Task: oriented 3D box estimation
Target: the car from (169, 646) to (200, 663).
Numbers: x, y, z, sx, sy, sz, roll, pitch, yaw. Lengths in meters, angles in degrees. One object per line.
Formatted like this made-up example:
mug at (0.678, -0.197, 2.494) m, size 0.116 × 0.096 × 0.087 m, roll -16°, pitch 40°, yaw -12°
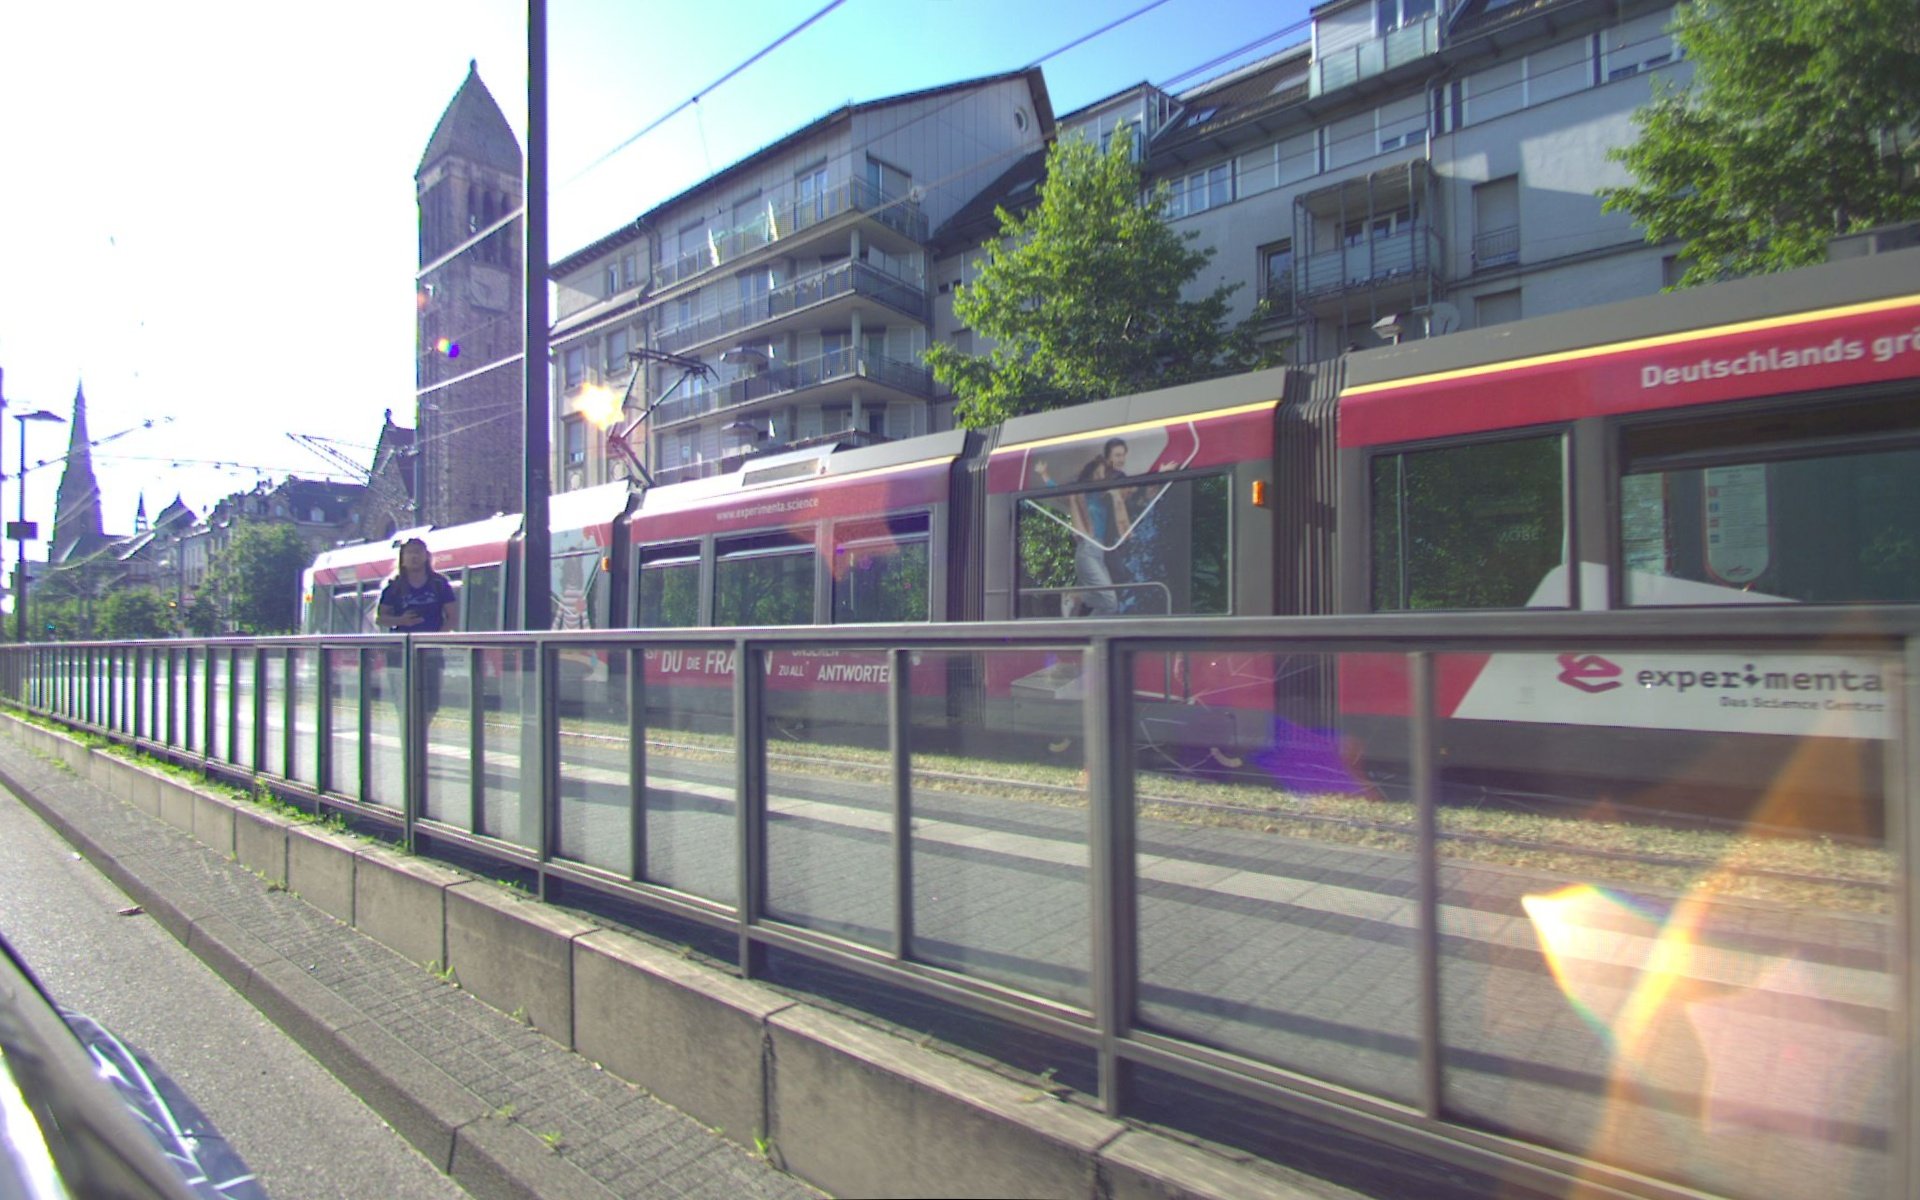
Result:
car at (-77.452, 5.471, 101.075) m, size 4.213 × 1.541 × 1.763 m, roll -3°, pitch -1°, yaw 42°

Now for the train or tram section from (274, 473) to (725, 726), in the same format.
train or tram section at (-10.288, 0.259, 20.756) m, size 14.555 × 3.704 × 2.839 m, roll -3°, pitch -3°, yaw 42°

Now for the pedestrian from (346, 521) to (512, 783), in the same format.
pedestrian at (-3.582, 0.333, 6.809) m, size 0.981 × 1.622 × 0.623 m, roll -3°, pitch -1°, yaw 40°

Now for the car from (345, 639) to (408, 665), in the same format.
car at (-47.056, 4.177, 81.674) m, size 1.869 × 1.819 × 3.972 m, roll -3°, pitch -1°, yaw 42°

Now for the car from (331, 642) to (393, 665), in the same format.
car at (-49.254, 4.414, 83.376) m, size 1.768 × 1.642 × 3.988 m, roll -3°, pitch -1°, yaw 42°

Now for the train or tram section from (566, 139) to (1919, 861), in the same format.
train or tram section at (0.578, -0.255, 11.013) m, size 14.555 × 3.714 × 2.839 m, roll -3°, pitch -3°, yaw 42°
